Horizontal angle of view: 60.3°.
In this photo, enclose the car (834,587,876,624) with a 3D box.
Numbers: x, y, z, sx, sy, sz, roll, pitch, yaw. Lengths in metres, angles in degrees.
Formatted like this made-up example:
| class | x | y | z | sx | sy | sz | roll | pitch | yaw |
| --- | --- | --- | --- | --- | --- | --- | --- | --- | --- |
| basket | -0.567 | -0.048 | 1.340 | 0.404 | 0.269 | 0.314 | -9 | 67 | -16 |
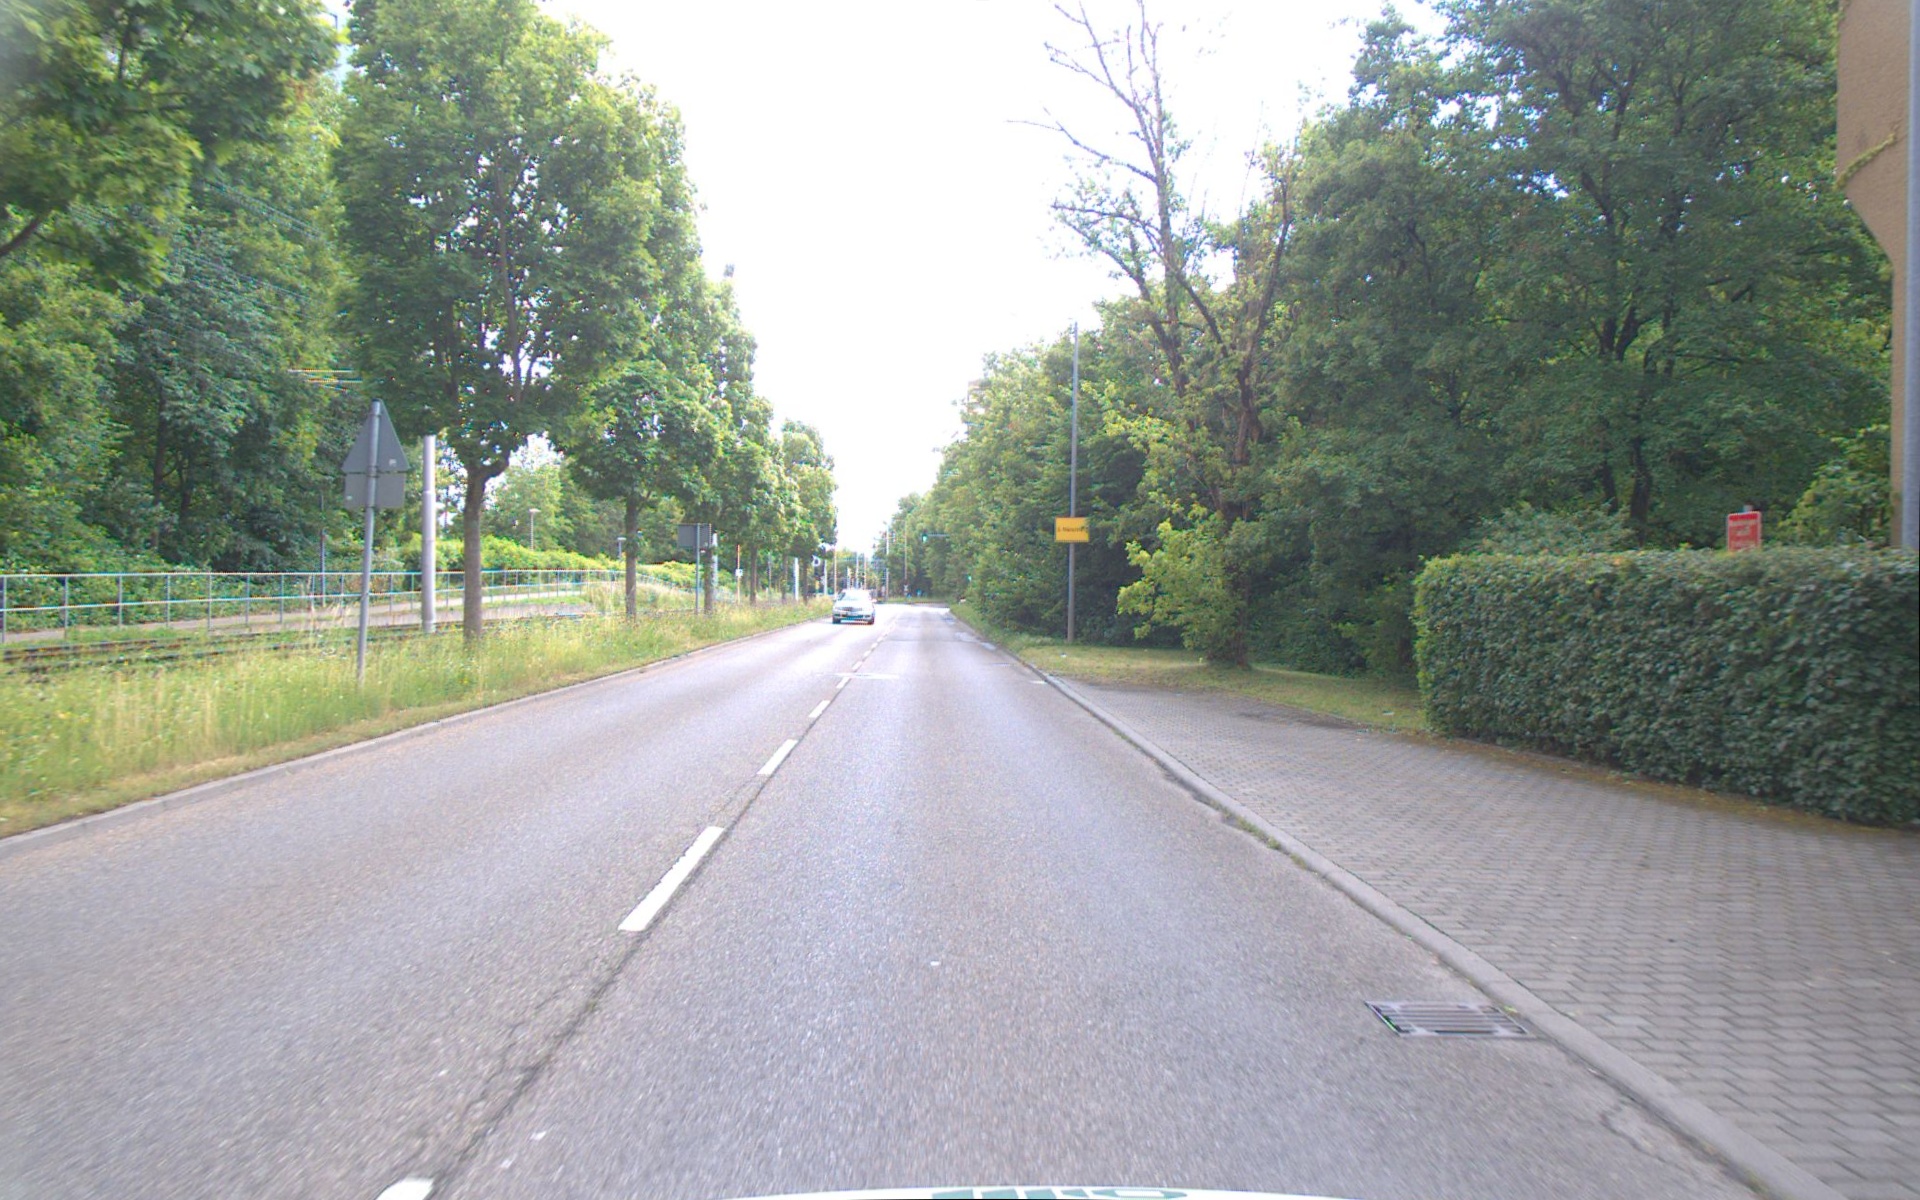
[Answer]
| class | x | y | z | sx | sy | sz | roll | pitch | yaw |
| --- | --- | --- | --- | --- | --- | --- | --- | --- | --- |
| car | -4.561 | 0.219 | 72.089 | 1.739 | 1.494 | 4.239 | 1 | 0 | -3 |
